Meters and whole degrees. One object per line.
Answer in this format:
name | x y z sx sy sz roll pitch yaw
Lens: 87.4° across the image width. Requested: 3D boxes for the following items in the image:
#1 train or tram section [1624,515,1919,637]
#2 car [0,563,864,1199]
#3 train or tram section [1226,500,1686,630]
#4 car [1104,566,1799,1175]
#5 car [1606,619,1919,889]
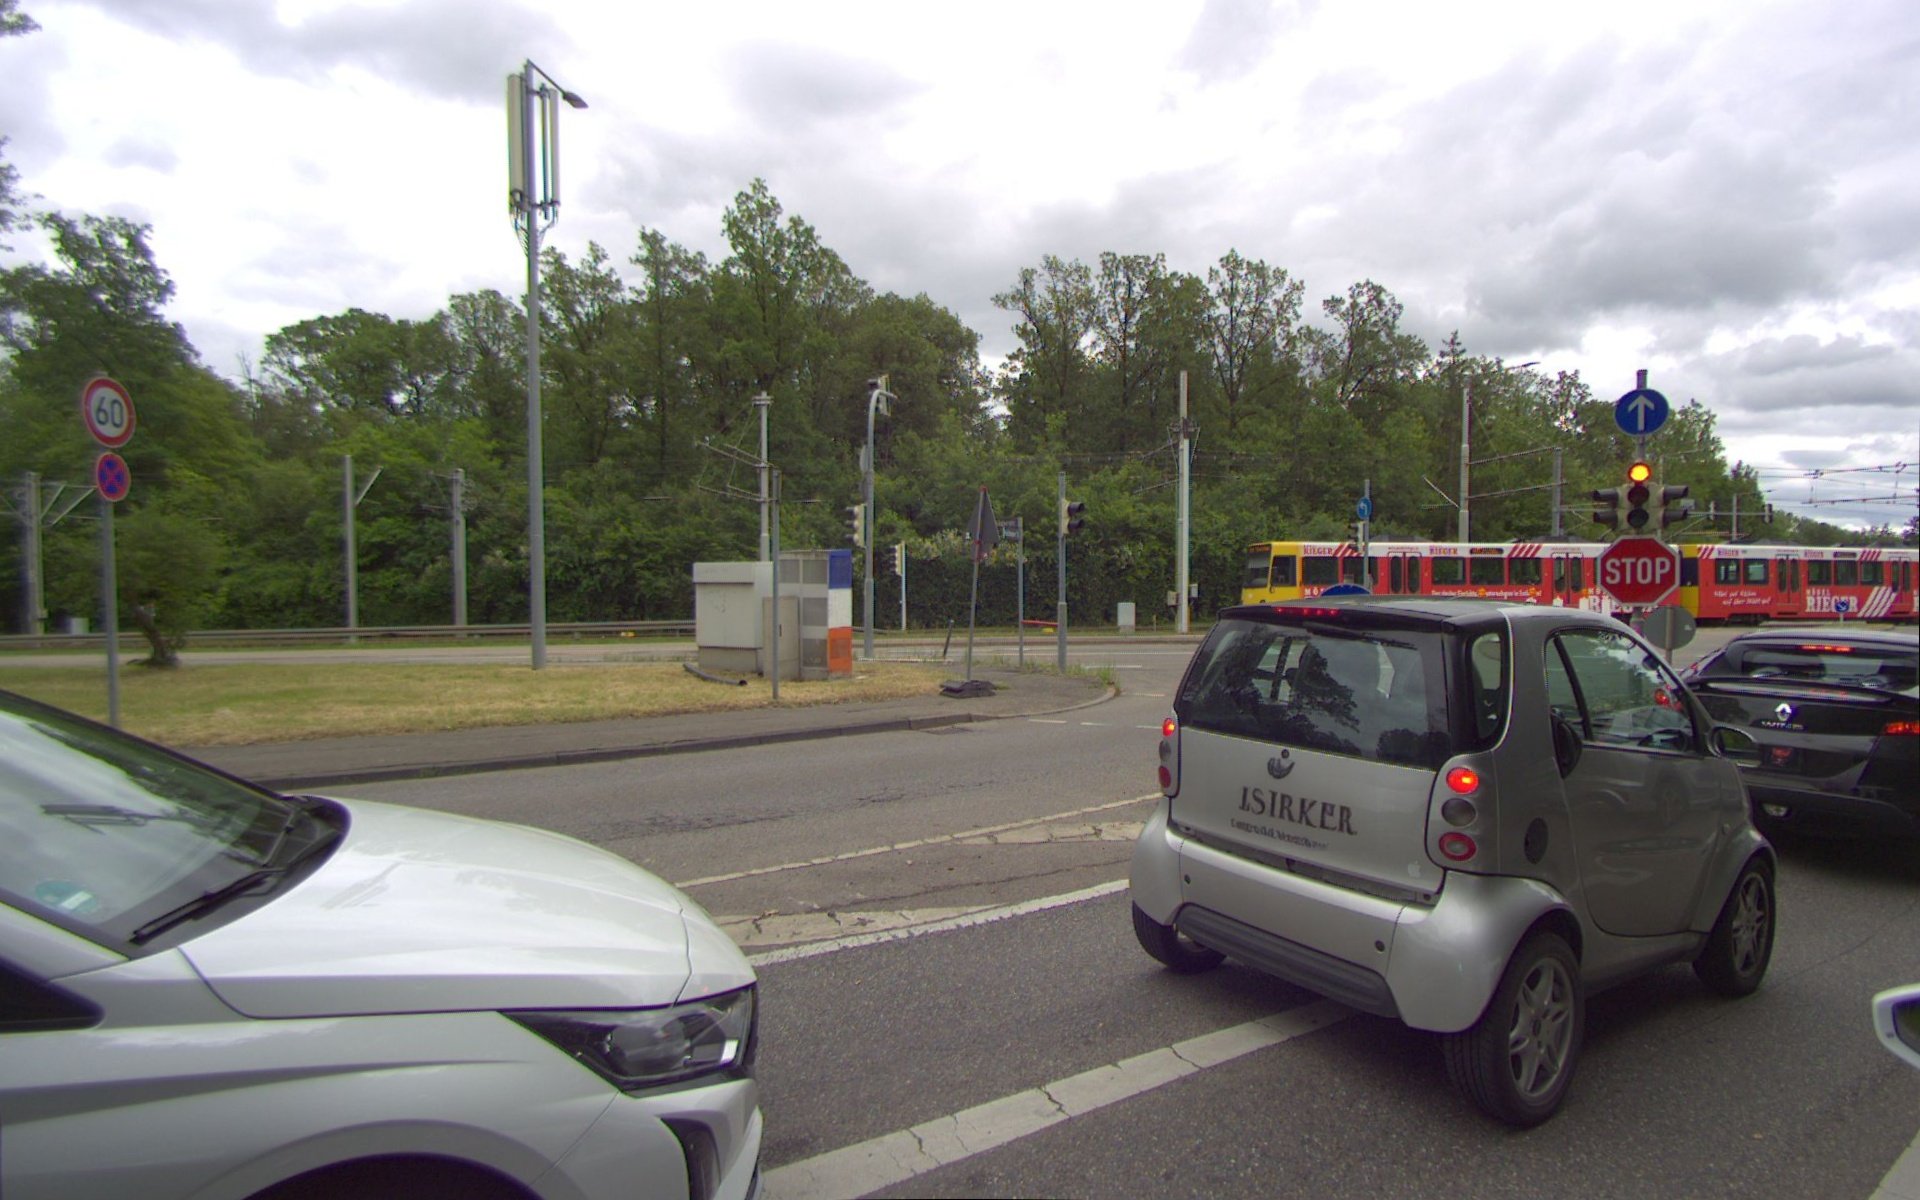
train or tram section | 38.179 -0.863 45.317 18.252 4.712 2.945 2 0 -18
car | -2.321 0.706 1.609 4.022 1.499 1.643 0 0 -28
train or tram section | 20.214 -1.287 40.954 18.388 4.477 2.961 2 0 -9
car | 2.054 0.722 4.045 2.701 1.607 1.447 0 0 -36
car | 5.996 0.843 6.873 3.448 1.380 1.759 0 0 -41
